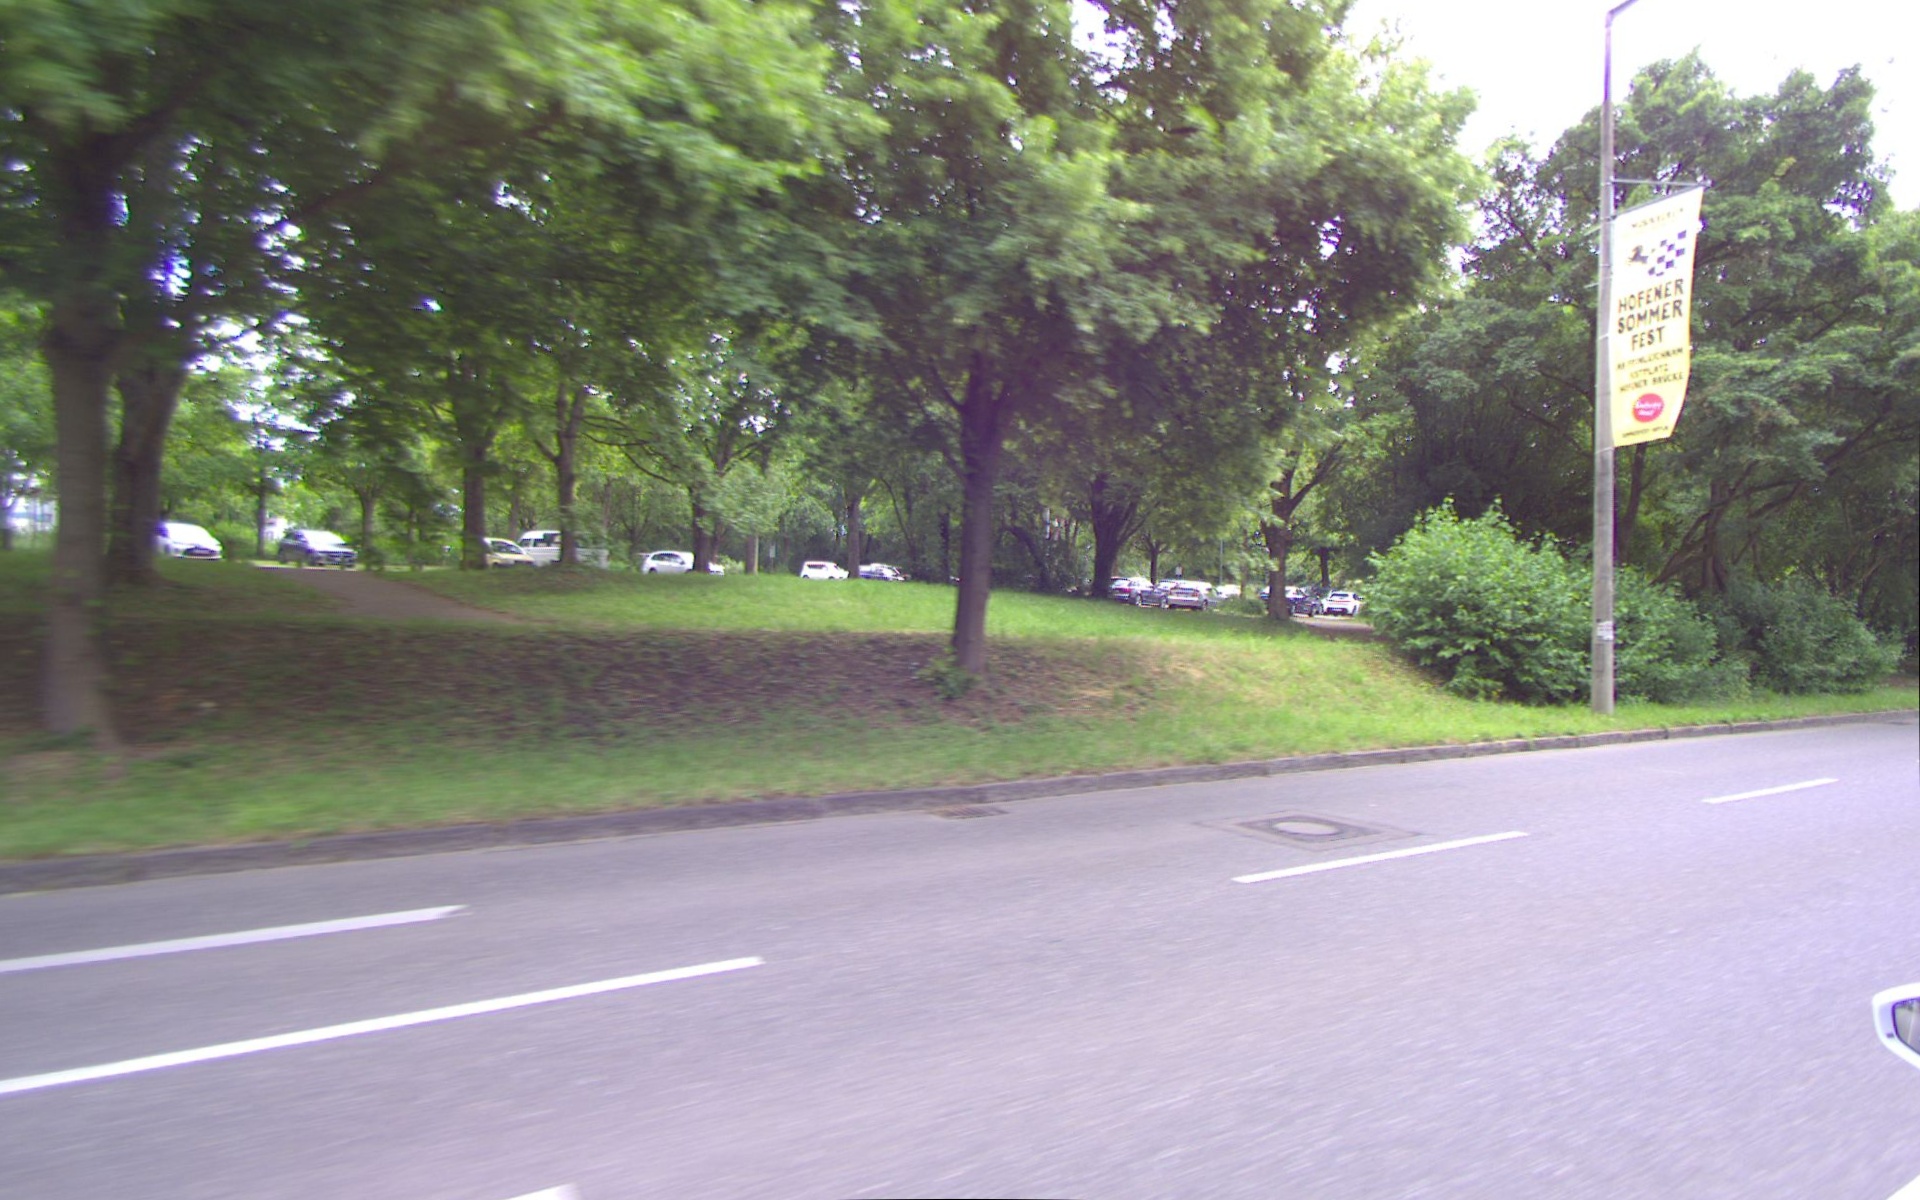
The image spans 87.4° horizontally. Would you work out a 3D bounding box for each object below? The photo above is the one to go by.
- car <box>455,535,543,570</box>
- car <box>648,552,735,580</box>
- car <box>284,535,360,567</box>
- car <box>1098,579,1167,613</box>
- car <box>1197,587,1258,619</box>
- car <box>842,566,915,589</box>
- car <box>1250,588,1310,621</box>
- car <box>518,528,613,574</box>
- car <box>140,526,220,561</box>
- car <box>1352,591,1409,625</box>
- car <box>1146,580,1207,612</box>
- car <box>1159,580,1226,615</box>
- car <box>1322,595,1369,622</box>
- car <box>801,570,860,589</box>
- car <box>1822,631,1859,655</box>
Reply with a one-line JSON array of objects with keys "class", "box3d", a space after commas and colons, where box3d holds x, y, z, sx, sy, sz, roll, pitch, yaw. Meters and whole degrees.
[{"class": "car", "box3d": [-17.745, -1.801, 38.631, 3.448, 1.226, 1.396, 2, 0, 32]}, {"class": "car", "box3d": [-12.682, -1.603, 47.322, 3.919, 1.226, 1.897, 2, 0, 35]}, {"class": "car", "box3d": [-27.619, -2.106, 43.470, 3.448, 1.250, 1.396, 2, 0, 32]}, {"class": "car", "box3d": [8.291, -0.166, 48.030, 1.624, 1.506, 3.986, 2, 0, 36]}, {"class": "car", "box3d": [13.555, 0.191, 50.750, 1.624, 1.506, 3.986, 2, 0, 36]}, {"class": "car", "box3d": [-4.770, -1.305, 58.425, 3.919, 1.226, 1.897, 2, 0, 35]}, {"class": "car", "box3d": [15.693, 0.251, 49.085, 1.624, 1.506, 3.986, 2, 0, 36]}, {"class": "car", "box3d": [-16.178, -1.980, 41.132, 4.048, 1.706, 1.748, 2, 0, 36]}, {"class": "car", "box3d": [-30.843, -2.224, 39.712, 3.448, 1.250, 1.396, 2, 0, 32]}, {"class": "car", "box3d": [20.021, 0.383, 47.787, 1.624, 1.506, 3.986, 2, 0, 36]}, {"class": "car", "box3d": [11.365, -0.199, 52.593, 1.624, 1.506, 3.986, 2, 0, 36]}, {"class": "car", "box3d": [10.789, -0.093, 46.458, 1.624, 1.506, 3.986, 2, 0, 36]}, {"class": "car", "box3d": [22.575, 0.511, 58.734, 1.624, 1.506, 3.986, 2, 0, 36]}, {"class": "car", "box3d": [-9.180, -1.456, 71.246, 3.919, 1.226, 1.897, 2, 0, 35]}, {"class": "car", "box3d": [50.884, 2.445, 58.066, 1.353, 1.254, 3.058, 4, 1, 38]}]
